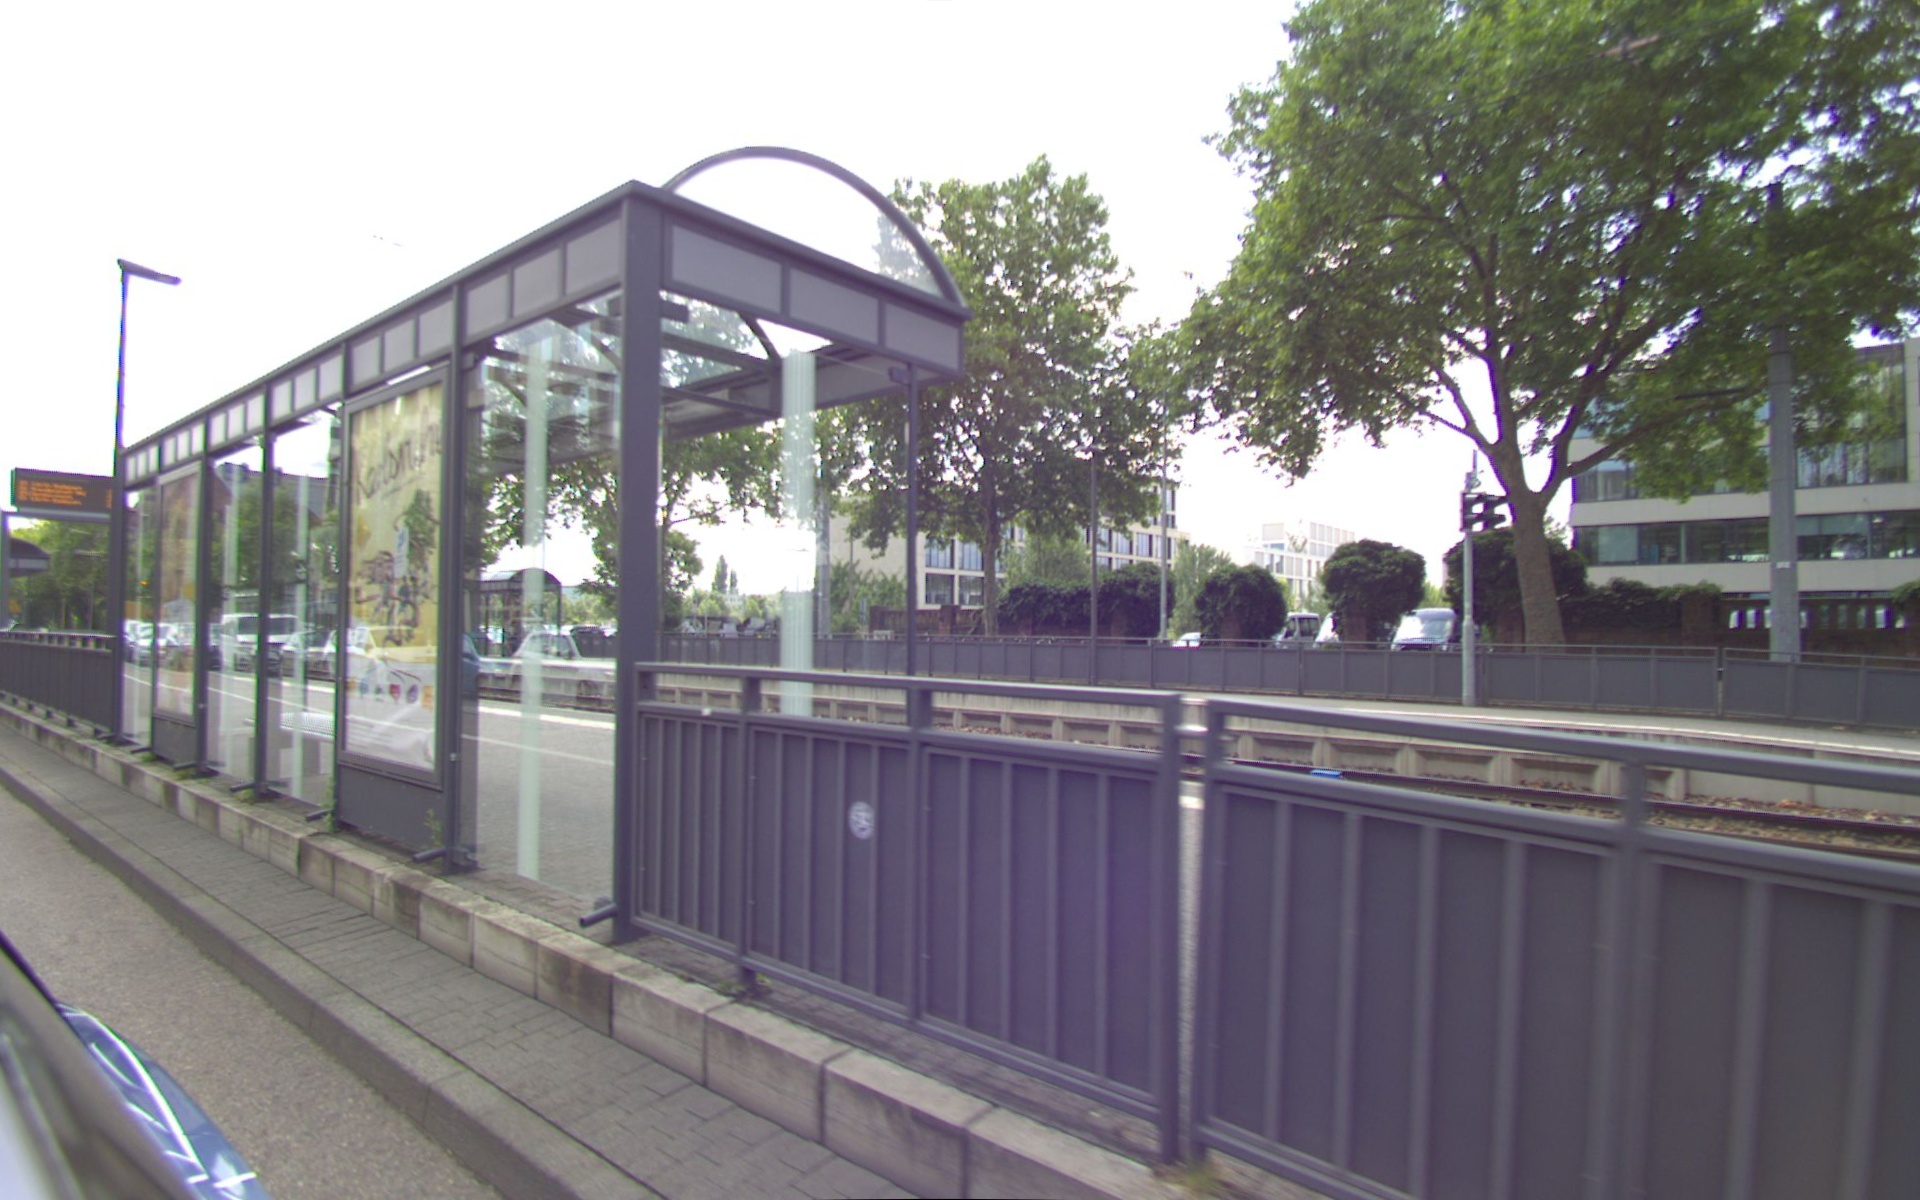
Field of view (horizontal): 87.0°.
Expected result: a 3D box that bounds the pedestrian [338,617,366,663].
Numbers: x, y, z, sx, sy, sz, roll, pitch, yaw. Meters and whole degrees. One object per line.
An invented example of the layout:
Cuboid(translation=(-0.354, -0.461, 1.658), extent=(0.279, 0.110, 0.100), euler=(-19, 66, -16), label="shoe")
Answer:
Cuboid(translation=(-24.751, 1.620, 41.204), extent=(0.863, 1.859, 0.699), euler=(-1, -3, 39), label="pedestrian")

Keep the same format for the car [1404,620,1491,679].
Cuboid(translation=(18.192, 1.862, 37.679), extent=(1.958, 2.049, 4.095), euler=(-1, -4, 40), label="car")

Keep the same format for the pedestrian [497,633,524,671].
Cuboid(translation=(-15.252, 1.765, 34.351), extent=(0.767, 1.279, 0.547), euler=(-2, -3, 43), label="pedestrian")

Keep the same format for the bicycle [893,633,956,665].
Cuboid(translation=(-1.489, 2.080, 43.147), extent=(3.003, 1.176, 0.635), euler=(-2, 0, -45), label="bicycle")
